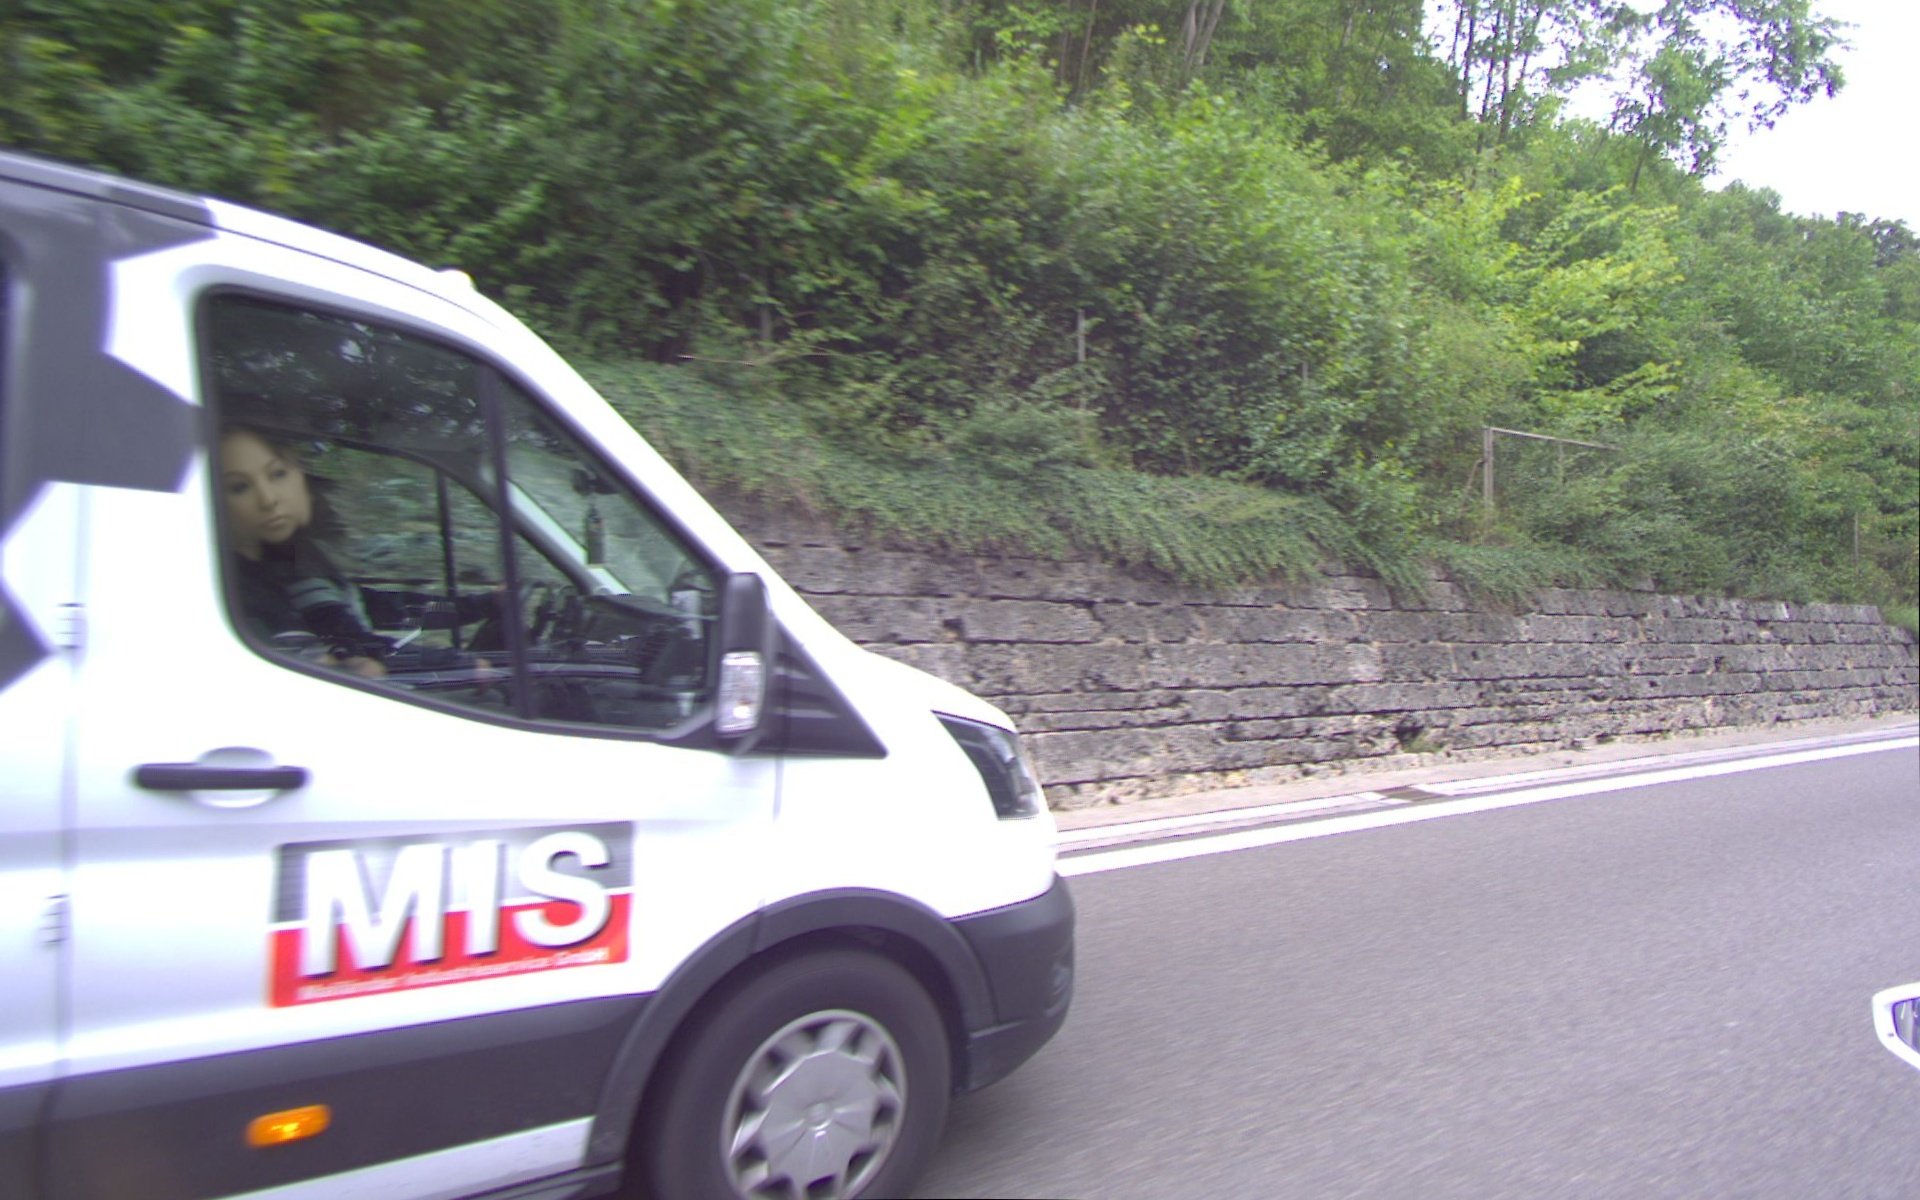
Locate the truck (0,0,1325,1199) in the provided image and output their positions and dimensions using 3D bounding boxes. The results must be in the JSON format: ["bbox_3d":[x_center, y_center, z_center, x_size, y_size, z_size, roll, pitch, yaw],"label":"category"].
[{"bbox_3d":[-2.493,0.294,1.969,6.773,2.304,2.336,2,0,-32],"label":"truck"}]
